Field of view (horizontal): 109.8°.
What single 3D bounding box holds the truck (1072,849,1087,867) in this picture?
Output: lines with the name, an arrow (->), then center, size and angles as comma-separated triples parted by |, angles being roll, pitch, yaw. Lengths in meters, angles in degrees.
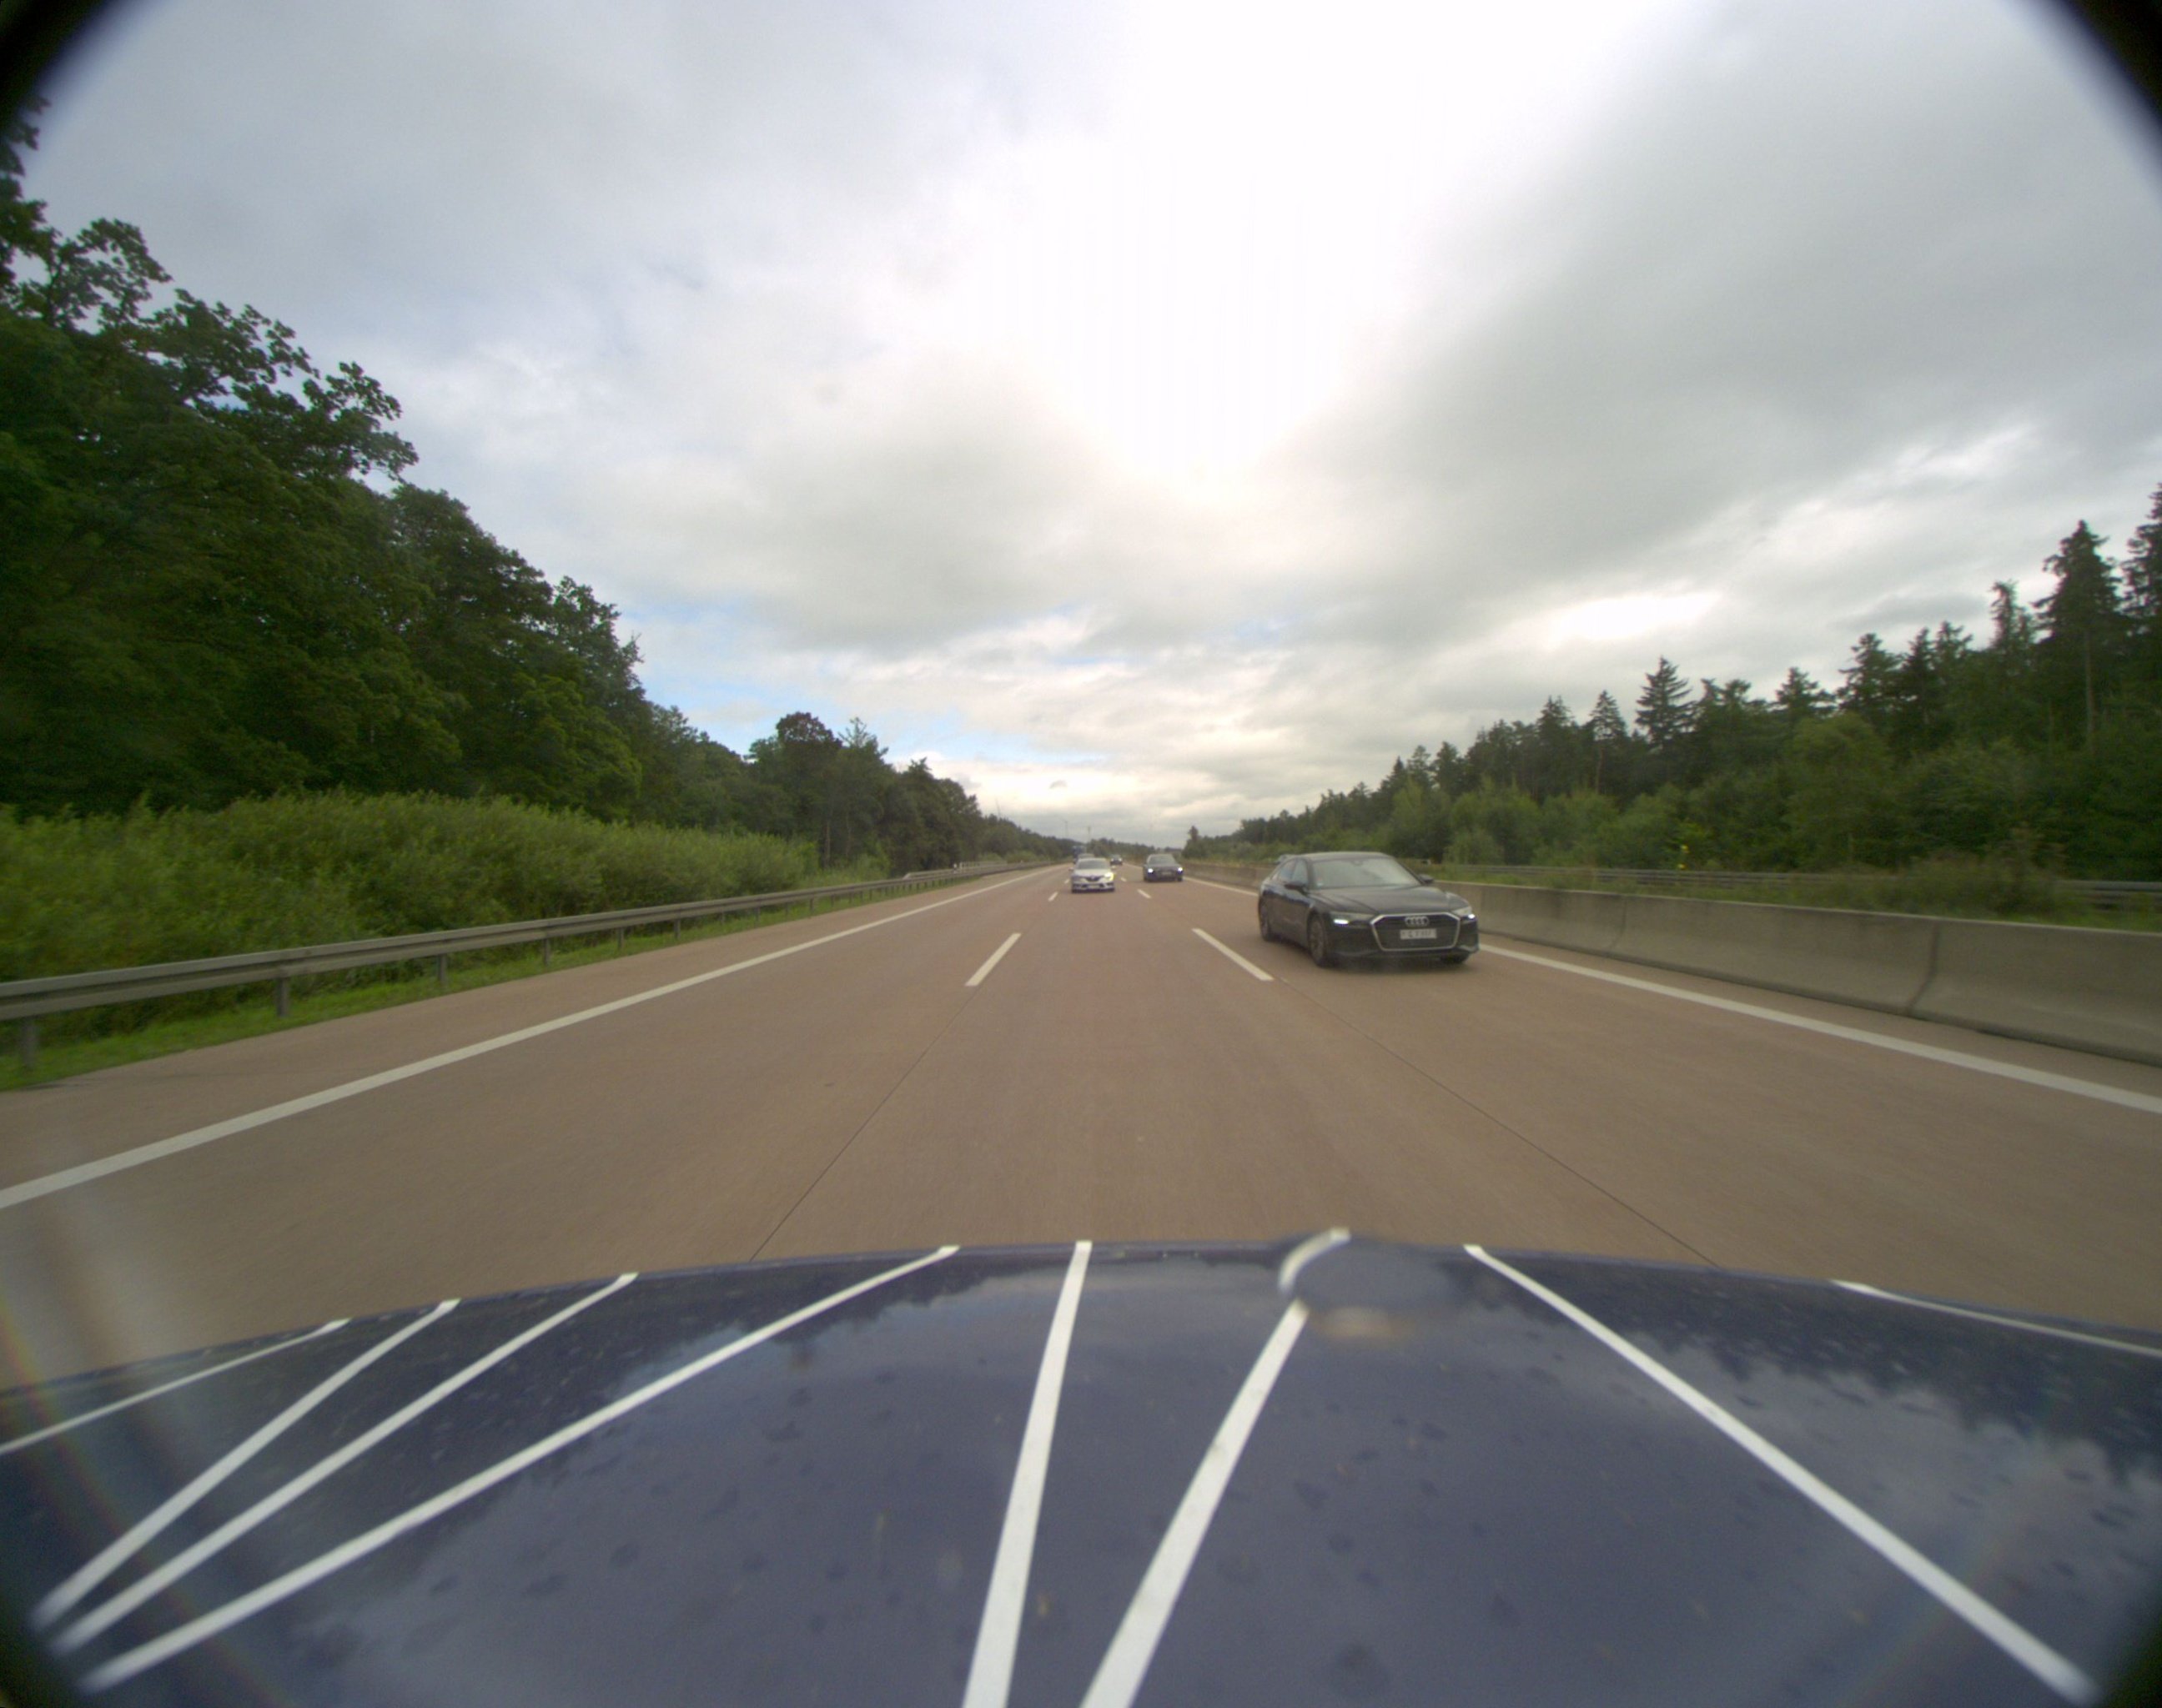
truck -> -0.362, 0.897, 172.383 | 2.956, 3.705, 7.949 | -5, 0, 1

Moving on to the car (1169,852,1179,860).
car -> 24.820, 0.460, 202.844 | 2.260, 2.002, 5.269 | -4, 0, 2

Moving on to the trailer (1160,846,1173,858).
trailer -> 27.611, -0.639, 246.552 | 2.941, 3.399, 13.271 | -3, 0, 2

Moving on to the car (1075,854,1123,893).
car -> 0.839, 0.794, 33.003 | 1.923, 1.516, 4.001 | -2, 0, 3

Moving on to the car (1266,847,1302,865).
car -> 19.648, 0.175, 73.826 | 2.129, 1.582, 5.197 | -1, 0, 1

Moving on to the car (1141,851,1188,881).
car -> 4.583, 0.617, 42.417 | 2.064, 1.483, 5.452 | -2, 0, 1

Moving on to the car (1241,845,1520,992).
car -> 3.893, 0.703, 11.216 | 2.090, 1.541, 5.675 | -3, 0, 3

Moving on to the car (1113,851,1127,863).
car -> 6.074, 0.482, 118.140 | 1.998, 1.689, 5.252 | -2, 1, 1

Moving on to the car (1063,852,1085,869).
car -> -0.617, 0.611, 72.245 | 1.986, 1.499, 4.052 | -2, 0, 1
